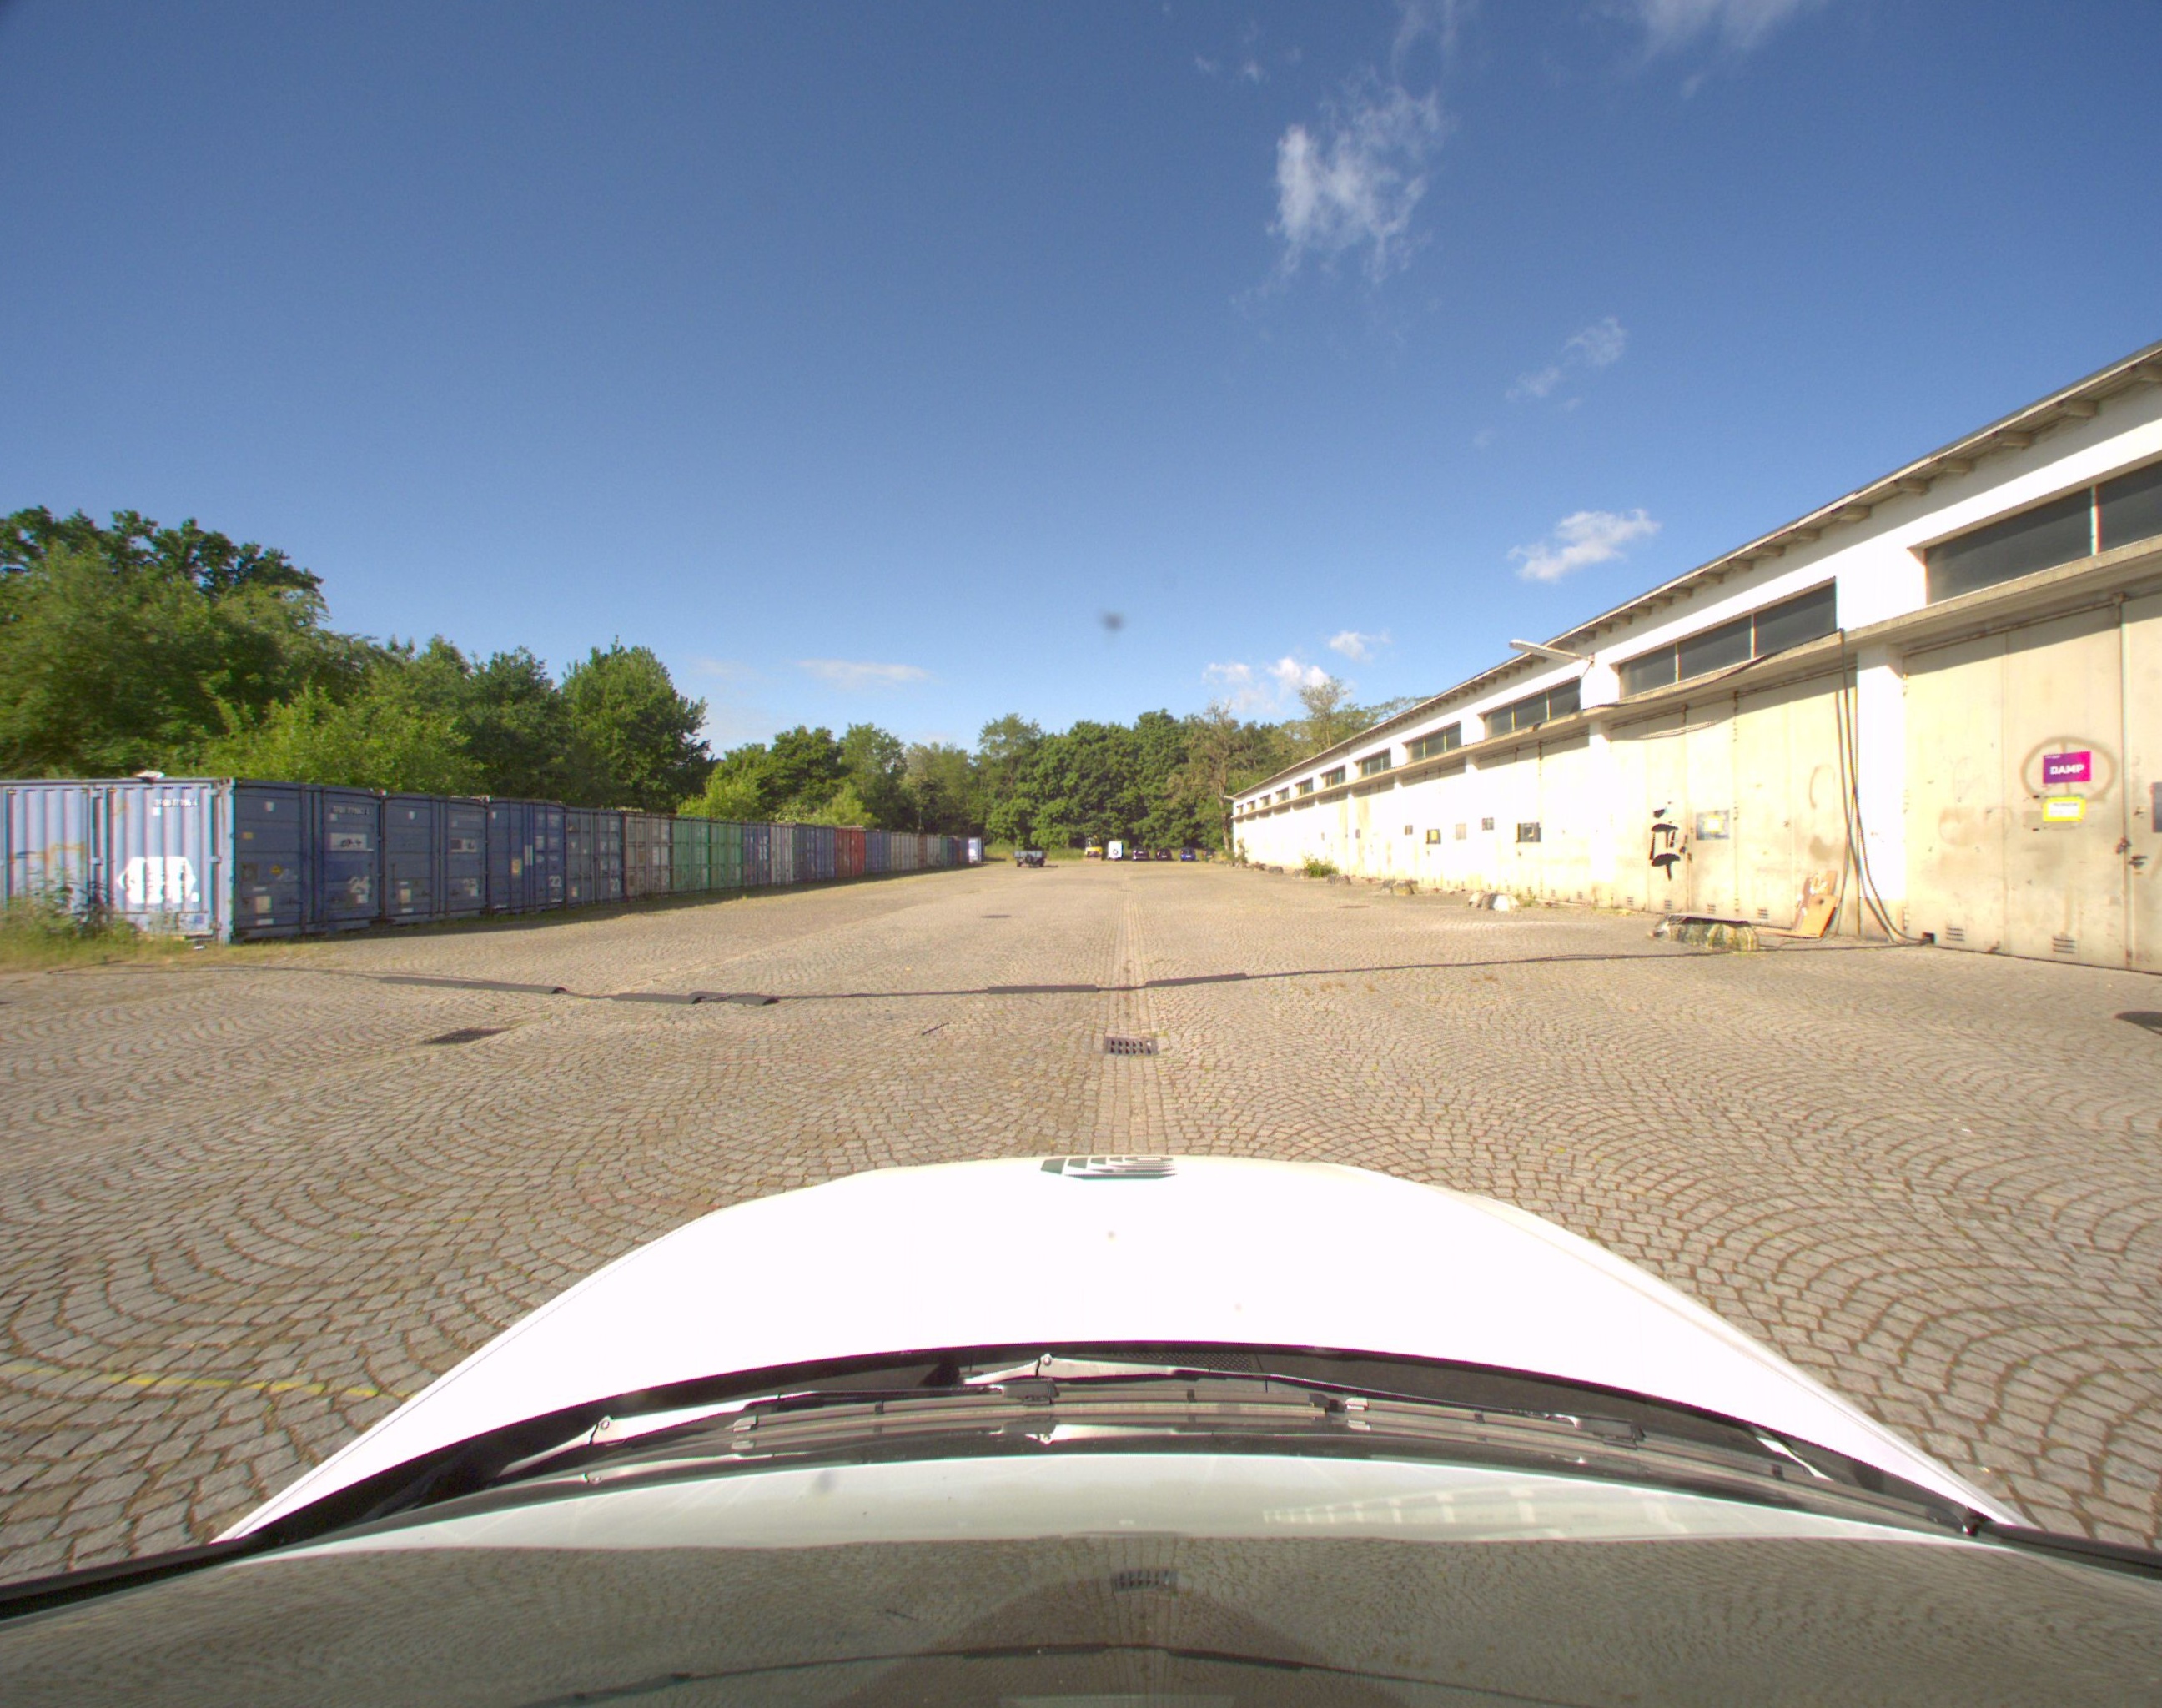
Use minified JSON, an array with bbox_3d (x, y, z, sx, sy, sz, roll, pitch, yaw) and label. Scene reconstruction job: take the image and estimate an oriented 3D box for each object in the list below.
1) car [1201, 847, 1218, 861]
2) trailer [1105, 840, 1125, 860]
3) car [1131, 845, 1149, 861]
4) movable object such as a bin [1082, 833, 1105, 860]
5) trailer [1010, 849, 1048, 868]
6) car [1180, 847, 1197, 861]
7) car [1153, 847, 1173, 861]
[{"bbox_3d":[14.140,-0.047,89.423,1.733,1.436,4.195,1,2,10],"label":"car"},{"bbox_3d":[3.807,-0.454,90.521,2.184,2.094,5.756,1,2,3],"label":"trailer"},{"bbox_3d":[6.373,-0.089,88.031,1.856,1.589,4.299,1,2,3],"label":"car"},{"bbox_3d":[1.467,-0.900,91.211,2.296,2.896,5.758,1,2,4],"label":"movable object such as a bin"},{"bbox_3d":[-4.455,0.335,70.748,2.695,1.465,6.250,1,1,1],"label":"trailer"},{"bbox_3d":[11.623,-0.007,88.118,1.734,1.436,4.193,1,2,8],"label":"car"},{"bbox_3d":[8.872,-0.025,88.295,1.856,1.470,4.299,1,2,3],"label":"car"}]
